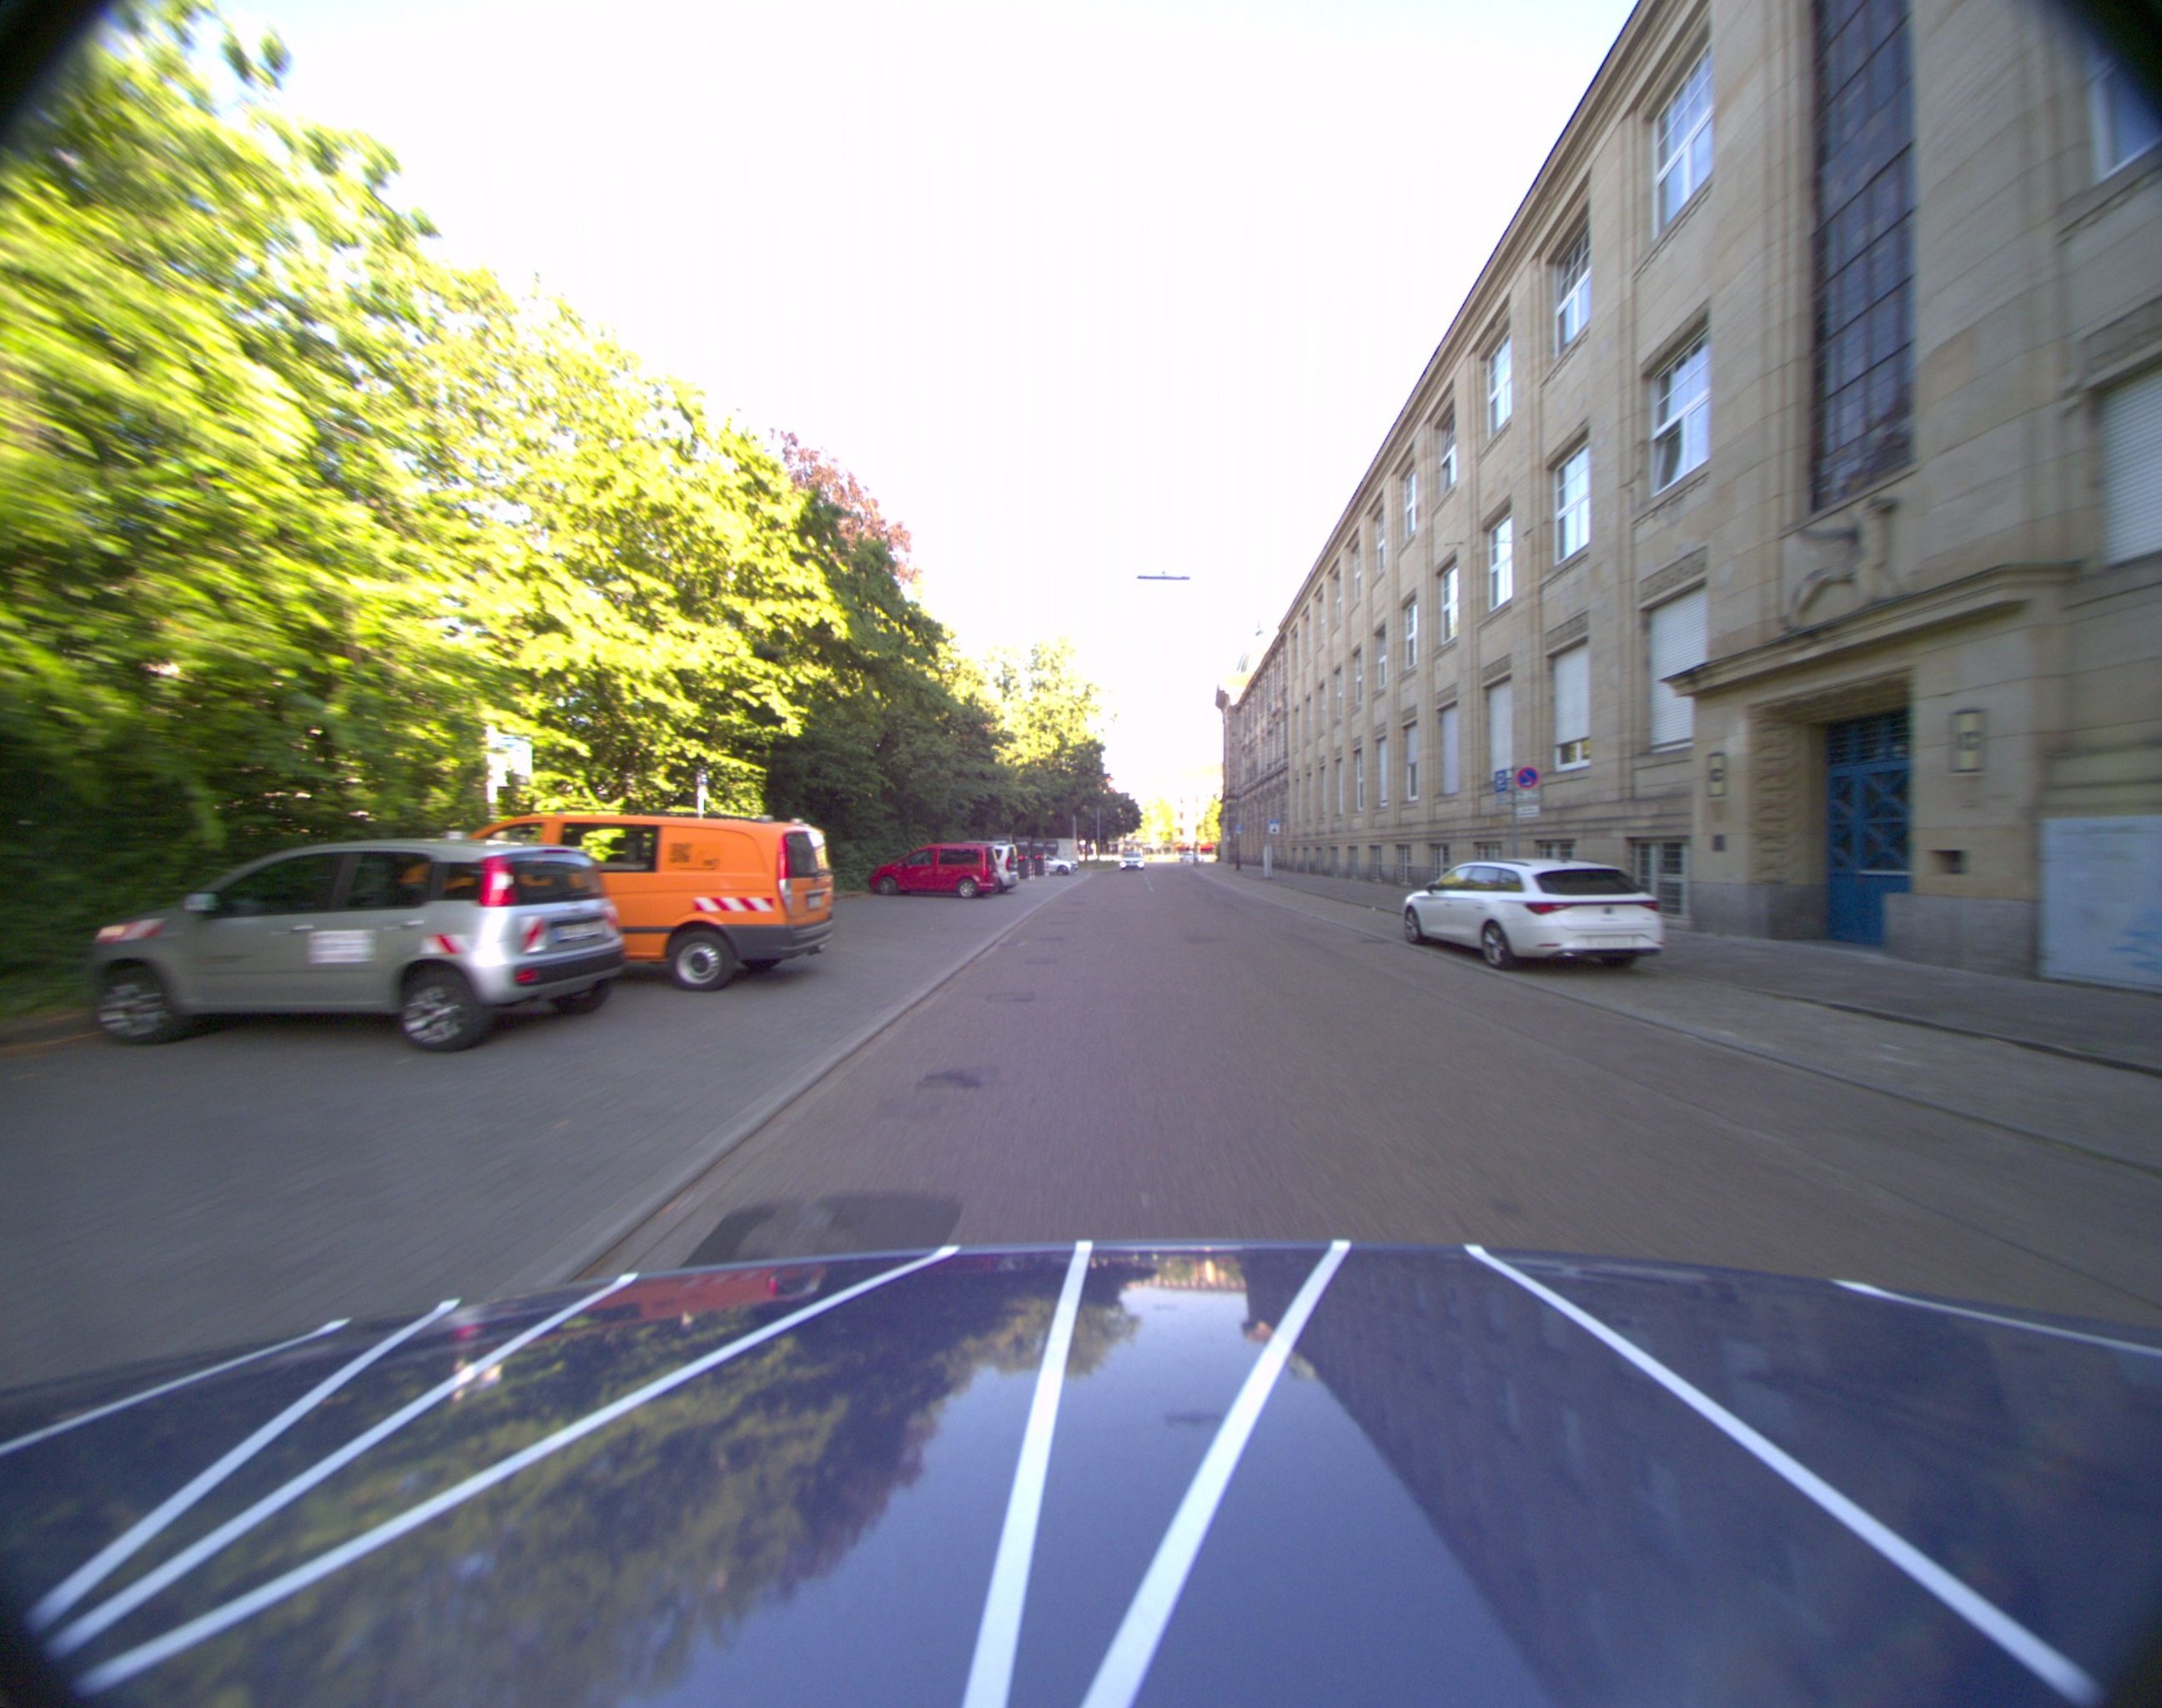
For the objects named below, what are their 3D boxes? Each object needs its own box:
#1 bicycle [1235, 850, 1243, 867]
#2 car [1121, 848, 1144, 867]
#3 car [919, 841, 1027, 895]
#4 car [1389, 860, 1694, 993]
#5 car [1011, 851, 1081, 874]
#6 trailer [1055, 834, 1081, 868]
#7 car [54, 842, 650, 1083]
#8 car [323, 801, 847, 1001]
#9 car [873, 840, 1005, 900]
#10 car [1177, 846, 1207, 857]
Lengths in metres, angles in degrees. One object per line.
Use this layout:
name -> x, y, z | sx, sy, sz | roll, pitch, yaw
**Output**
bicycle -> 11.315, 0.318, 54.430 | 0.457, 1.202, 1.879 | 0, 1, 14
car -> 4.245, 0.262, 62.421 | 1.687, 1.445, 4.105 | 0, 1, 7
car -> -3.987, 0.492, 28.300 | 3.608, 1.873, 1.784 | 1, 1, 6
car -> 6.253, 0.855, 11.075 | 1.748, 1.426, 4.560 | -1, 1, 1
car -> -2.280, 0.538, 50.357 | 4.440, 1.458, 1.711 | 0, 1, 6
trailer -> -1.028, -0.253, 60.712 | 1.600, 2.625, 3.704 | 0, 1, 6
car -> -5.771, 0.768, 6.322 | 3.404, 1.622, 1.680 | 2, 1, 3
car -> -5.535, 0.495, 9.049 | 4.808, 1.986, 2.080 | 2, 1, -1
car -> -4.766, 0.501, 25.856 | 3.979, 1.852, 1.920 | 1, 1, 7
car -> 16.927, -0.372, 116.178 | 4.270, 1.635, 1.808 | 0, 1, 40
